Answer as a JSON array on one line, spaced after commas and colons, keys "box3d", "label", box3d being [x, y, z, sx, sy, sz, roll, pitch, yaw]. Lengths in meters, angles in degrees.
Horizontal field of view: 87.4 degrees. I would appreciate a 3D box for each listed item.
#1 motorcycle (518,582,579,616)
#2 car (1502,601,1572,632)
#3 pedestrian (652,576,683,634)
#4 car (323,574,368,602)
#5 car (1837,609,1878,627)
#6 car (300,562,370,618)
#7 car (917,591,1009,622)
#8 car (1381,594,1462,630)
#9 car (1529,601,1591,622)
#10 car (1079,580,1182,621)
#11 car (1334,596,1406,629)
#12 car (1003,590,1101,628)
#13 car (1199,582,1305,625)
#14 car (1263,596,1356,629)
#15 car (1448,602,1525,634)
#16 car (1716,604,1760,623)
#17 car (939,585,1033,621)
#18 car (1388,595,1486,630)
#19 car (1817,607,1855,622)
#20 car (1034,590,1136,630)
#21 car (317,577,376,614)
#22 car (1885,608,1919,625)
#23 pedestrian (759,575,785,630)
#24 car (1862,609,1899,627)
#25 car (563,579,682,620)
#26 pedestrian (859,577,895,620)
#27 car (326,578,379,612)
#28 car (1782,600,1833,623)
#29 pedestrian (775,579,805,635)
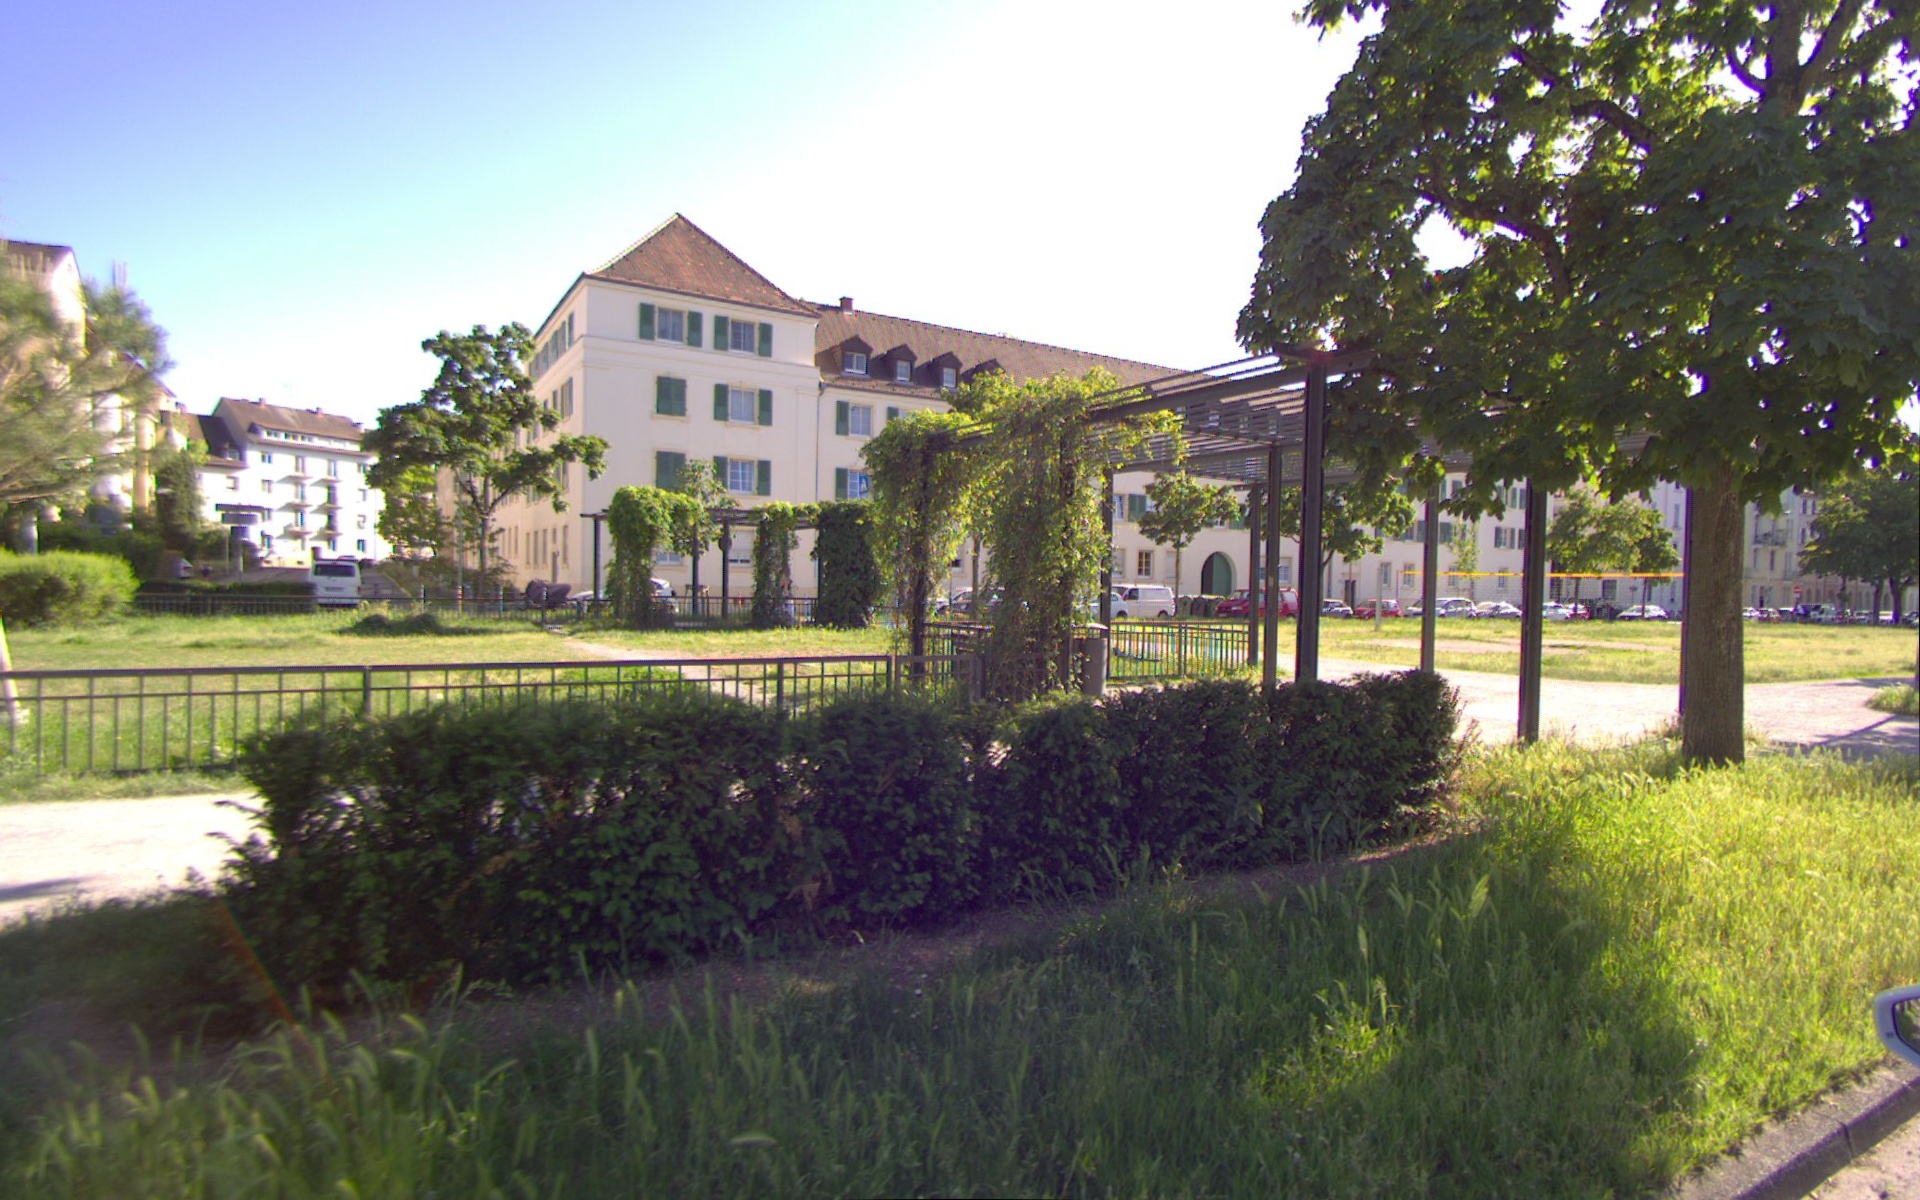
[{"box3d": [-16.360, -0.042, 39.943, 2.122, 1.323, 0.811, 1, 1, -33], "label": "motorcycle"}, {"box3d": [36.432, 1.023, 63.404, 4.213, 1.845, 2.222, 1, 1, -34], "label": "car"}, {"box3d": [-7.543, 0.132, 25.886, 0.665, 1.458, 0.541, 1, 1, -29], "label": "pedestrian"}, {"box3d": [-35.303, -0.714, 57.809, 2.018, 1.539, 3.786, 1, 1, -29], "label": "car"}, {"box3d": [81.986, 1.623, 91.726, 4.649, 1.582, 1.683, 1, 1, -34], "label": "car"}, {"box3d": [-23.510, -0.410, 37.886, 2.018, 1.982, 3.786, 1, 1, -29], "label": "car"}, {"box3d": [0.143, 0.293, 46.805, 3.956, 1.374, 1.759, 1, 1, -32], "label": "car"}, {"box3d": [30.508, 0.762, 66.382, 5.202, 2.246, 2.515, 1, 1, -33], "label": "car"}, {"box3d": [44.848, 0.877, 75.075, 4.904, 1.504, 1.982, 1, 0, -32], "label": "car"}, {"box3d": [8.926, 0.047, 52.419, 5.203, 2.011, 2.207, 1, 1, -34], "label": "car"}, {"box3d": [25.855, 0.783, 63.277, 4.122, 1.930, 2.250, 1, 1, -33], "label": "car"}, {"box3d": [4.558, 0.442, 49.633, 4.596, 1.787, 1.981, 1, 1, -34], "label": "car"}, {"box3d": [14.456, 0.170, 49.644, 5.203, 2.011, 2.207, 1, 1, -34], "label": "car"}, {"box3d": [20.993, 0.758, 60.269, 5.196, 1.845, 2.438, 1, 1, -30], "label": "car"}, {"box3d": [31.674, 1.063, 60.411, 3.961, 1.774, 2.306, 1, 1, -30], "label": "car"}, {"box3d": [70.634, 1.223, 91.196, 4.408, 1.608, 1.980, 1, 1, -36], "label": "car"}, {"box3d": [1.064, 0.131, 40.651, 3.476, 1.350, 1.640, 1, 1, -33], "label": "car"}, {"box3d": [27.439, 0.729, 57.752, 5.389, 1.845, 2.438, 1, 1, -30], "label": "car"}, {"box3d": [77.562, 1.280, 88.906, 3.489, 1.296, 1.683, 1, 1, -34], "label": "car"}, {"box3d": [5.446, 0.436, 43.622, 4.189, 1.605, 1.778, 1, 1, -33], "label": "car"}, {"box3d": [-26.726, -0.217, 43.841, 2.018, 1.539, 3.786, 1, 1, -29], "label": "car"}, {"box3d": [91.615, 1.617, 97.605, 4.309, 1.570, 1.621, 1, 1, -34], "label": "car"}, {"box3d": [-5.919, 0.087, 31.557, 0.665, 1.707, 0.541, 1, 1, -26], "label": "pedestrian"}, {"box3d": [87.040, 1.701, 94.959, 4.039, 1.547, 1.683, 1, 1, -34], "label": "car"}, {"box3d": [-11.920, -0.022, 35.489, 3.674, 1.349, 1.737, 1, 1, -33], "label": "car"}, {"box3d": [-3.953, -0.077, 47.660, 1.153, 1.990, 1.330, 1, 1, -37], "label": "pedestrian"}, {"box3d": [-29.371, -0.279, 48.635, 2.018, 1.539, 3.786, 1, 1, -29], "label": "car"}, {"box3d": [72.883, 0.989, 86.381, 5.045, 1.897, 2.068, 1, 1, -34], "label": "car"}, {"box3d": [-5.234, 0.209, 30.910, 0.741, 1.707, 0.541, 1, 1, -29], "label": "pedestrian"}]
